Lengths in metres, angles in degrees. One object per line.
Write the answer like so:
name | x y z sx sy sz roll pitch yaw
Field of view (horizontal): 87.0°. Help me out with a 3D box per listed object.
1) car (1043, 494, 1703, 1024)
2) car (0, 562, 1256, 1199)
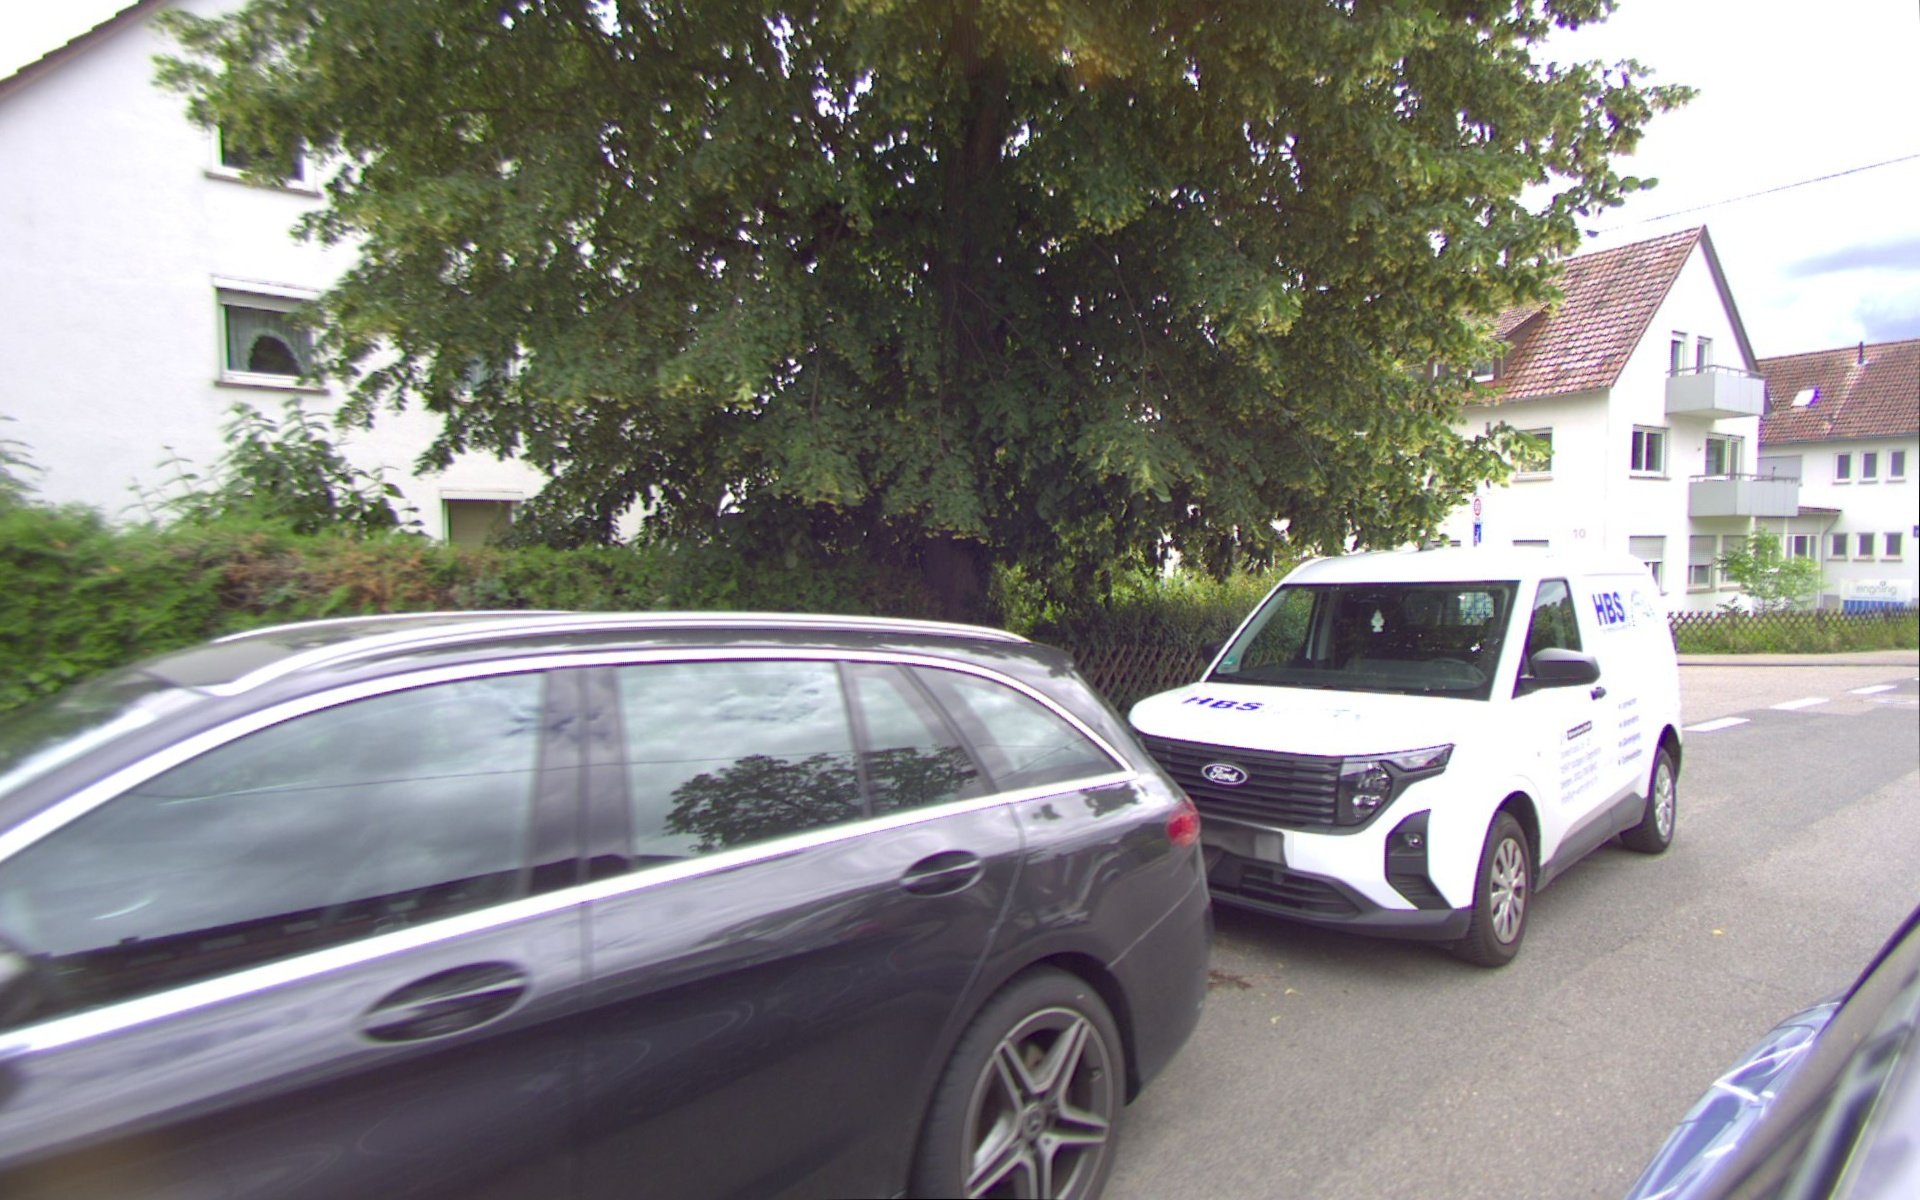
car | 2.543 0.541 5.591 4.246 1.796 1.839 0 0 -44
car | -1.551 0.689 1.923 4.542 1.496 1.996 -1 3 -43
